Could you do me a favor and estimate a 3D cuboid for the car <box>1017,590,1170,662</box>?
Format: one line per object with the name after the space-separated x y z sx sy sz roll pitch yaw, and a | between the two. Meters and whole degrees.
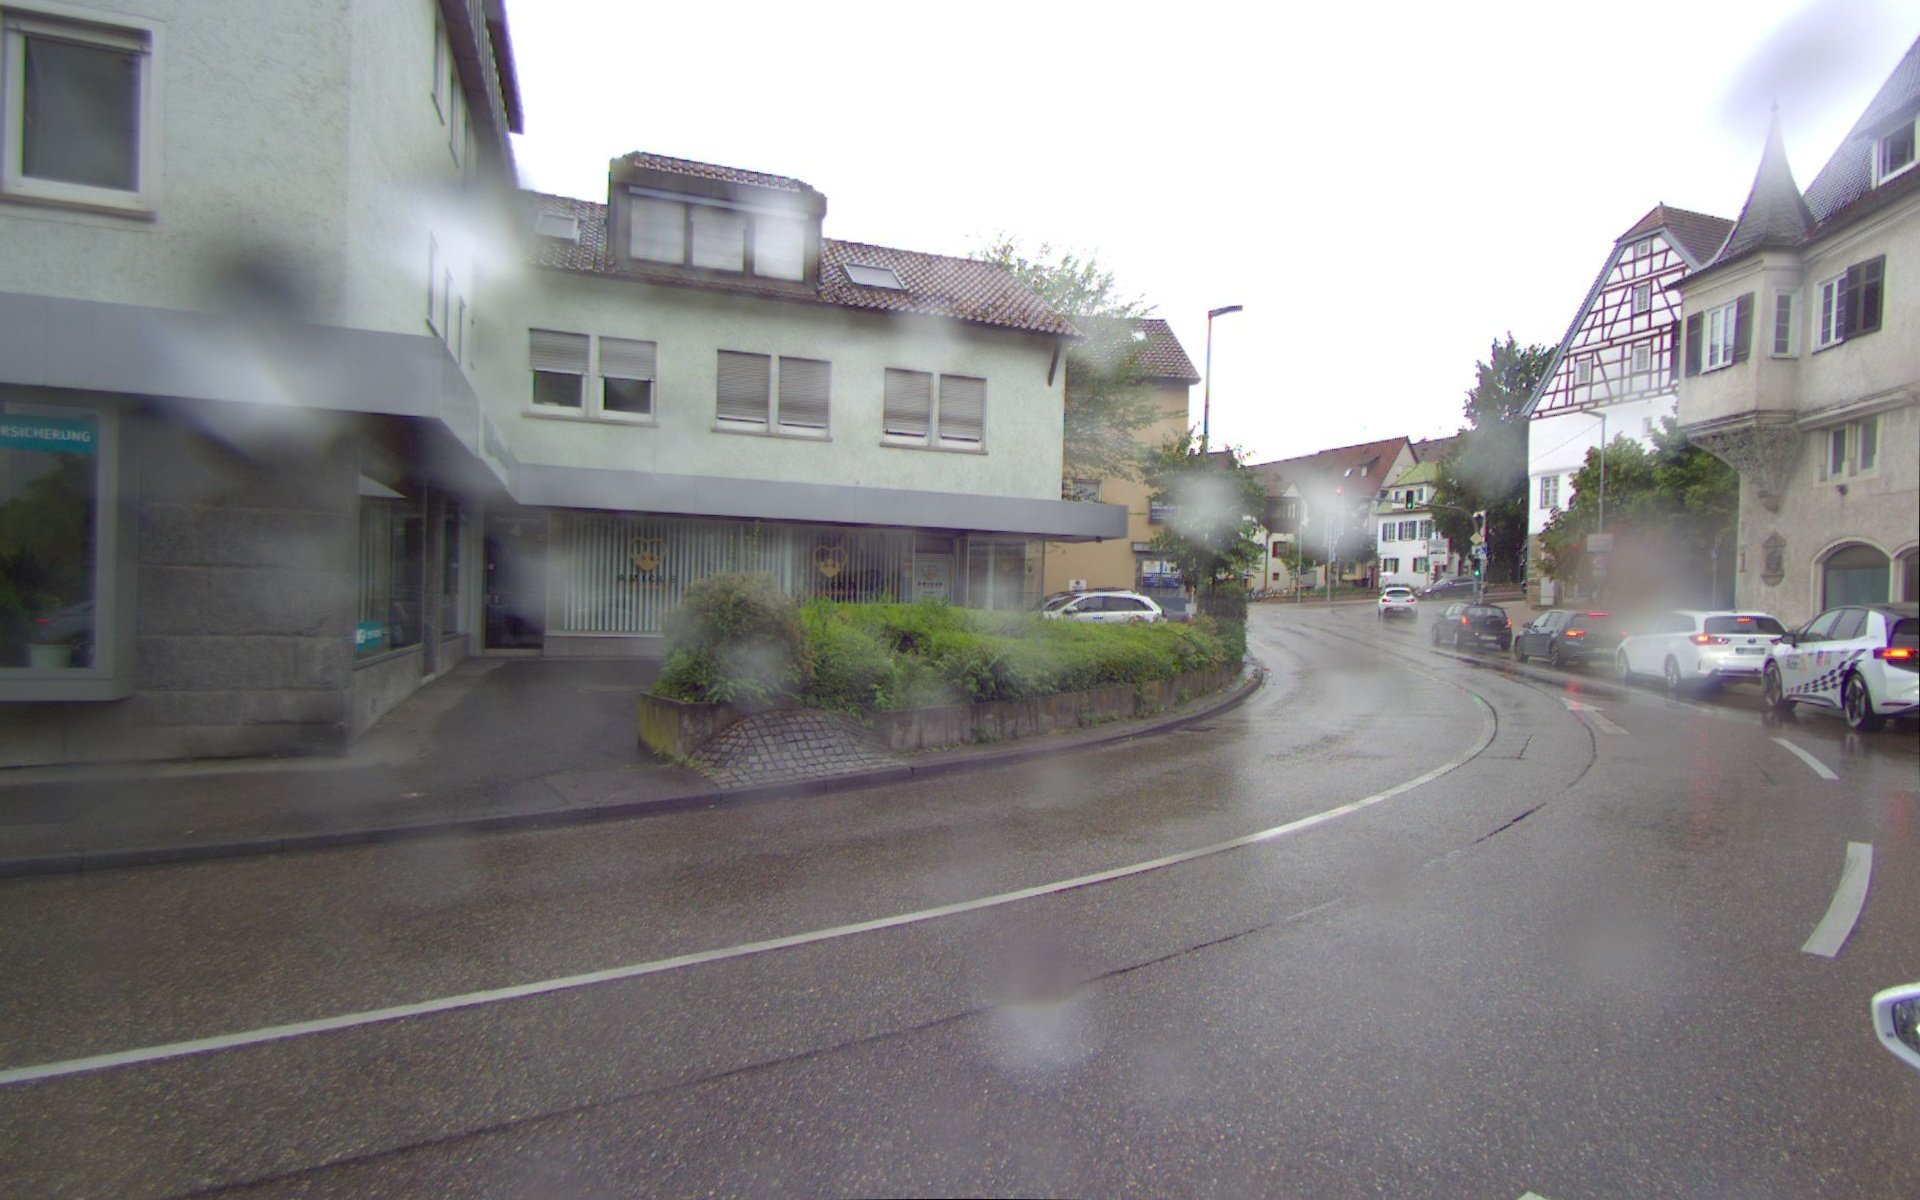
3.312 0.628 25.215 3.472 1.708 1.710 0 1 -8 | car

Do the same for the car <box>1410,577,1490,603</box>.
31.576 -0.655 64.772 4.446 1.409 1.648 1 7 -8 | car

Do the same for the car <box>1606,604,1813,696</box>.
13.931 0.847 18.979 1.755 1.485 4.165 0 1 16 | car

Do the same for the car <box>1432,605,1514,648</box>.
17.403 0.852 34.209 1.634 1.330 3.625 0 1 13 | car

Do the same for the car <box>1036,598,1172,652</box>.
4.008 0.681 28.282 3.472 1.475 1.710 0 0 -8 | car

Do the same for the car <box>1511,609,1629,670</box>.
15.680 0.972 26.003 1.493 1.380 3.769 0 1 13 | car

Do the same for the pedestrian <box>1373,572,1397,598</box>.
29.096 -1.015 68.776 1.128 1.765 1.004 1 0 -5 | pedestrian

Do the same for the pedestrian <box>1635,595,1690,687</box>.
18.591 1.056 26.600 0.851 2.357 1.231 1 0 18 | pedestrian

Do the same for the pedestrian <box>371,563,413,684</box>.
-7.294 0.300 12.902 0.419 1.528 0.356 0 1 -22 | pedestrian

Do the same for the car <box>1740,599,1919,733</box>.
12.158 0.779 13.324 1.760 1.537 4.239 -1 -1 22 | car

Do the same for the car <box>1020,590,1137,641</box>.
3.826 0.497 32.718 3.472 1.597 1.710 0 1 -8 | car

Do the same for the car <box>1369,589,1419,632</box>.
22.238 0.484 51.586 1.940 2.118 3.961 0 1 18 | car
